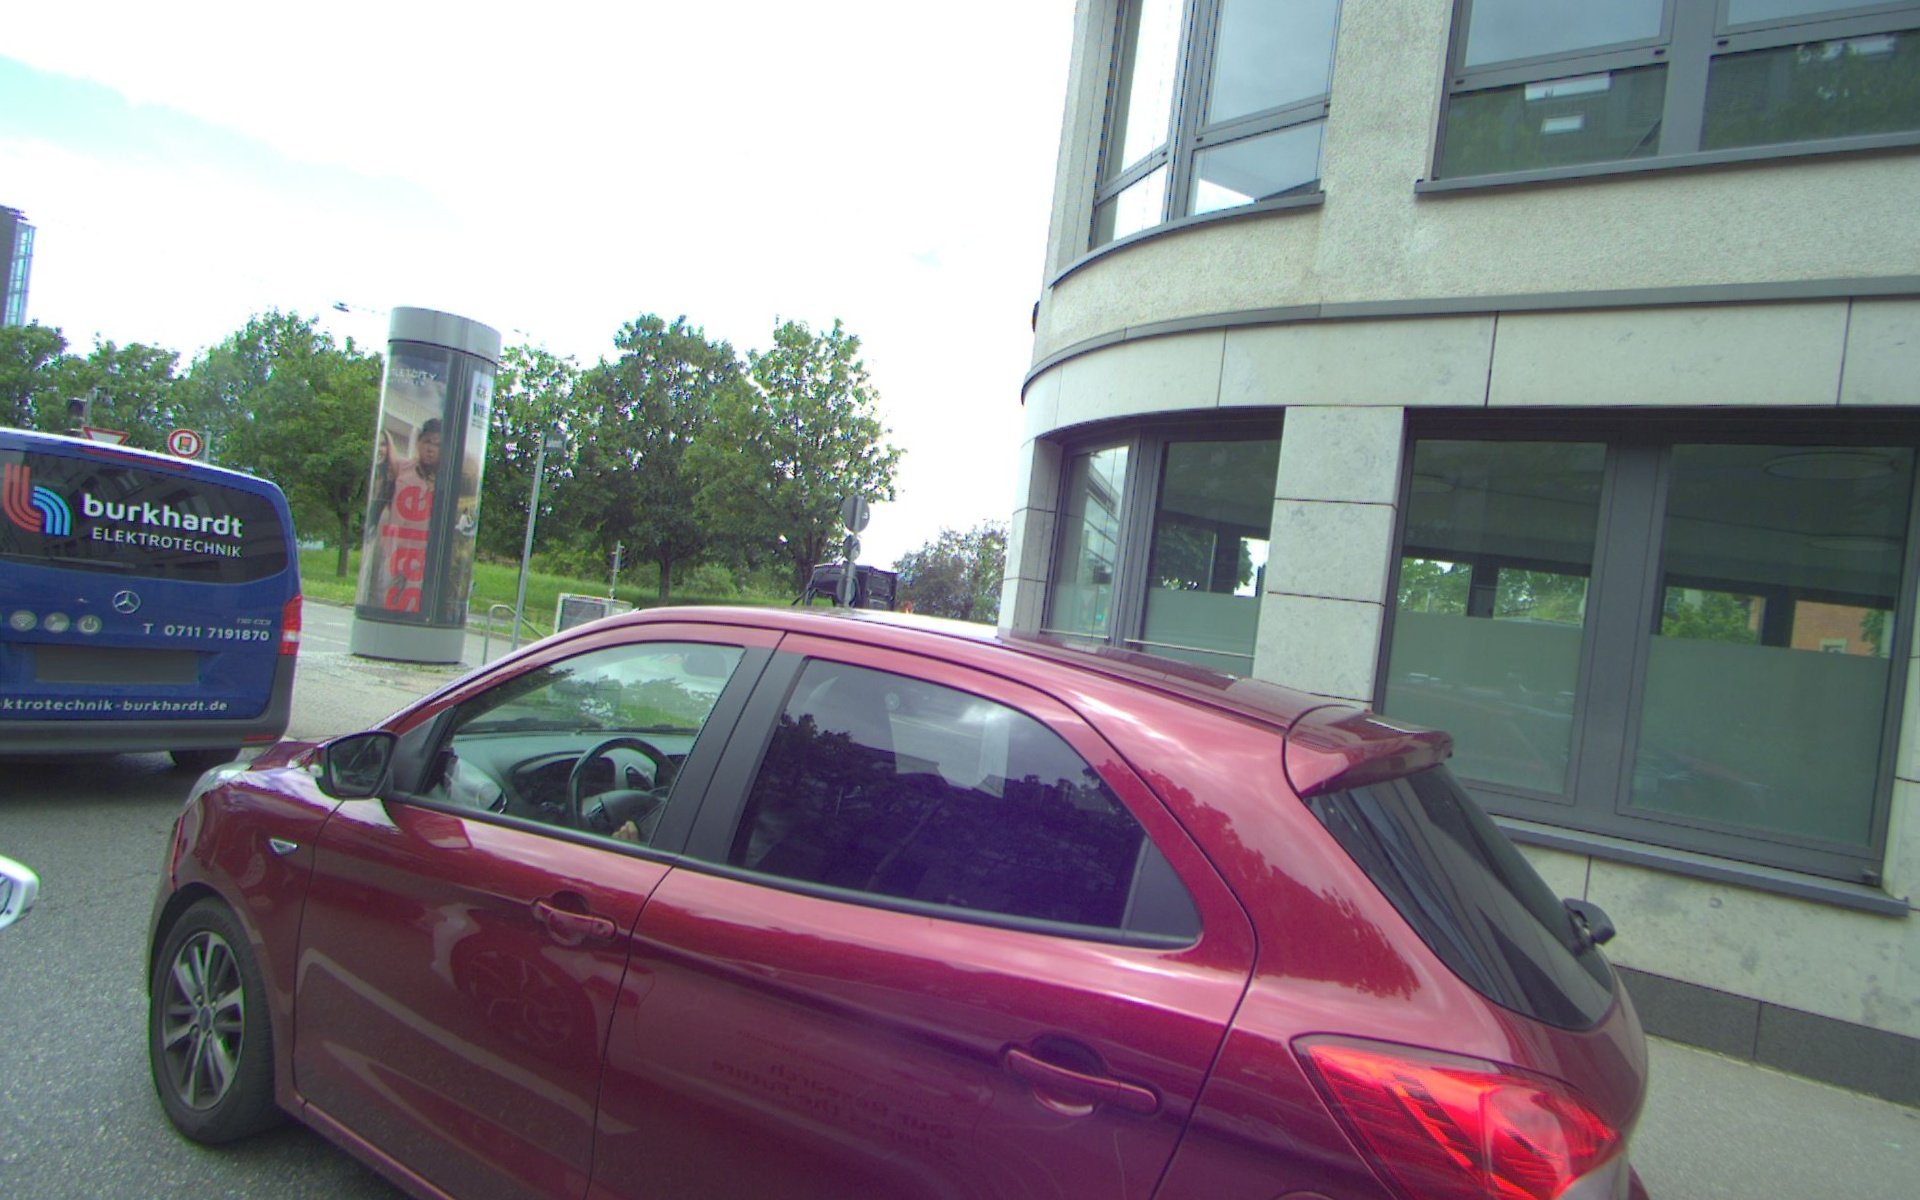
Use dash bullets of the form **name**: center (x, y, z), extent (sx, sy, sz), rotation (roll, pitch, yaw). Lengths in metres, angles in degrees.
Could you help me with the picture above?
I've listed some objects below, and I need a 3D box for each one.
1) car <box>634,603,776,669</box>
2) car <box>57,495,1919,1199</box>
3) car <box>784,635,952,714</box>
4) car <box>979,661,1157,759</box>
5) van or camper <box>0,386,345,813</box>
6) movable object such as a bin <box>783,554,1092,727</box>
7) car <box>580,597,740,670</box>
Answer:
- **car**: center (-8.380, 1.192, 33.145), extent (3.925, 1.469, 2.003), rotation (8, -3, 19)
- **car**: center (-0.259, 0.777, 2.581), extent (3.933, 1.509, 1.890), rotation (7, -3, 32)
- **car**: center (-2.471, 2.016, 27.278), extent (3.925, 1.469, 2.003), rotation (8, -3, 19)
- **car**: center (2.746, 2.732, 25.258), extent (3.925, 1.723, 2.003), rotation (8, -3, 19)
- **van or camper**: center (-6.199, -0.190, 6.275), extent (4.949, 1.934, 1.862), rotation (7, -1, 32)
- **movable object such as a bin**: center (-0.671, 1.159, 30.110), extent (8.410, 3.949, 2.870), rotation (7, -1, 18)
- **car**: center (-8.771, 1.002, 29.517), extent (3.925, 1.469, 2.003), rotation (8, -3, 19)
